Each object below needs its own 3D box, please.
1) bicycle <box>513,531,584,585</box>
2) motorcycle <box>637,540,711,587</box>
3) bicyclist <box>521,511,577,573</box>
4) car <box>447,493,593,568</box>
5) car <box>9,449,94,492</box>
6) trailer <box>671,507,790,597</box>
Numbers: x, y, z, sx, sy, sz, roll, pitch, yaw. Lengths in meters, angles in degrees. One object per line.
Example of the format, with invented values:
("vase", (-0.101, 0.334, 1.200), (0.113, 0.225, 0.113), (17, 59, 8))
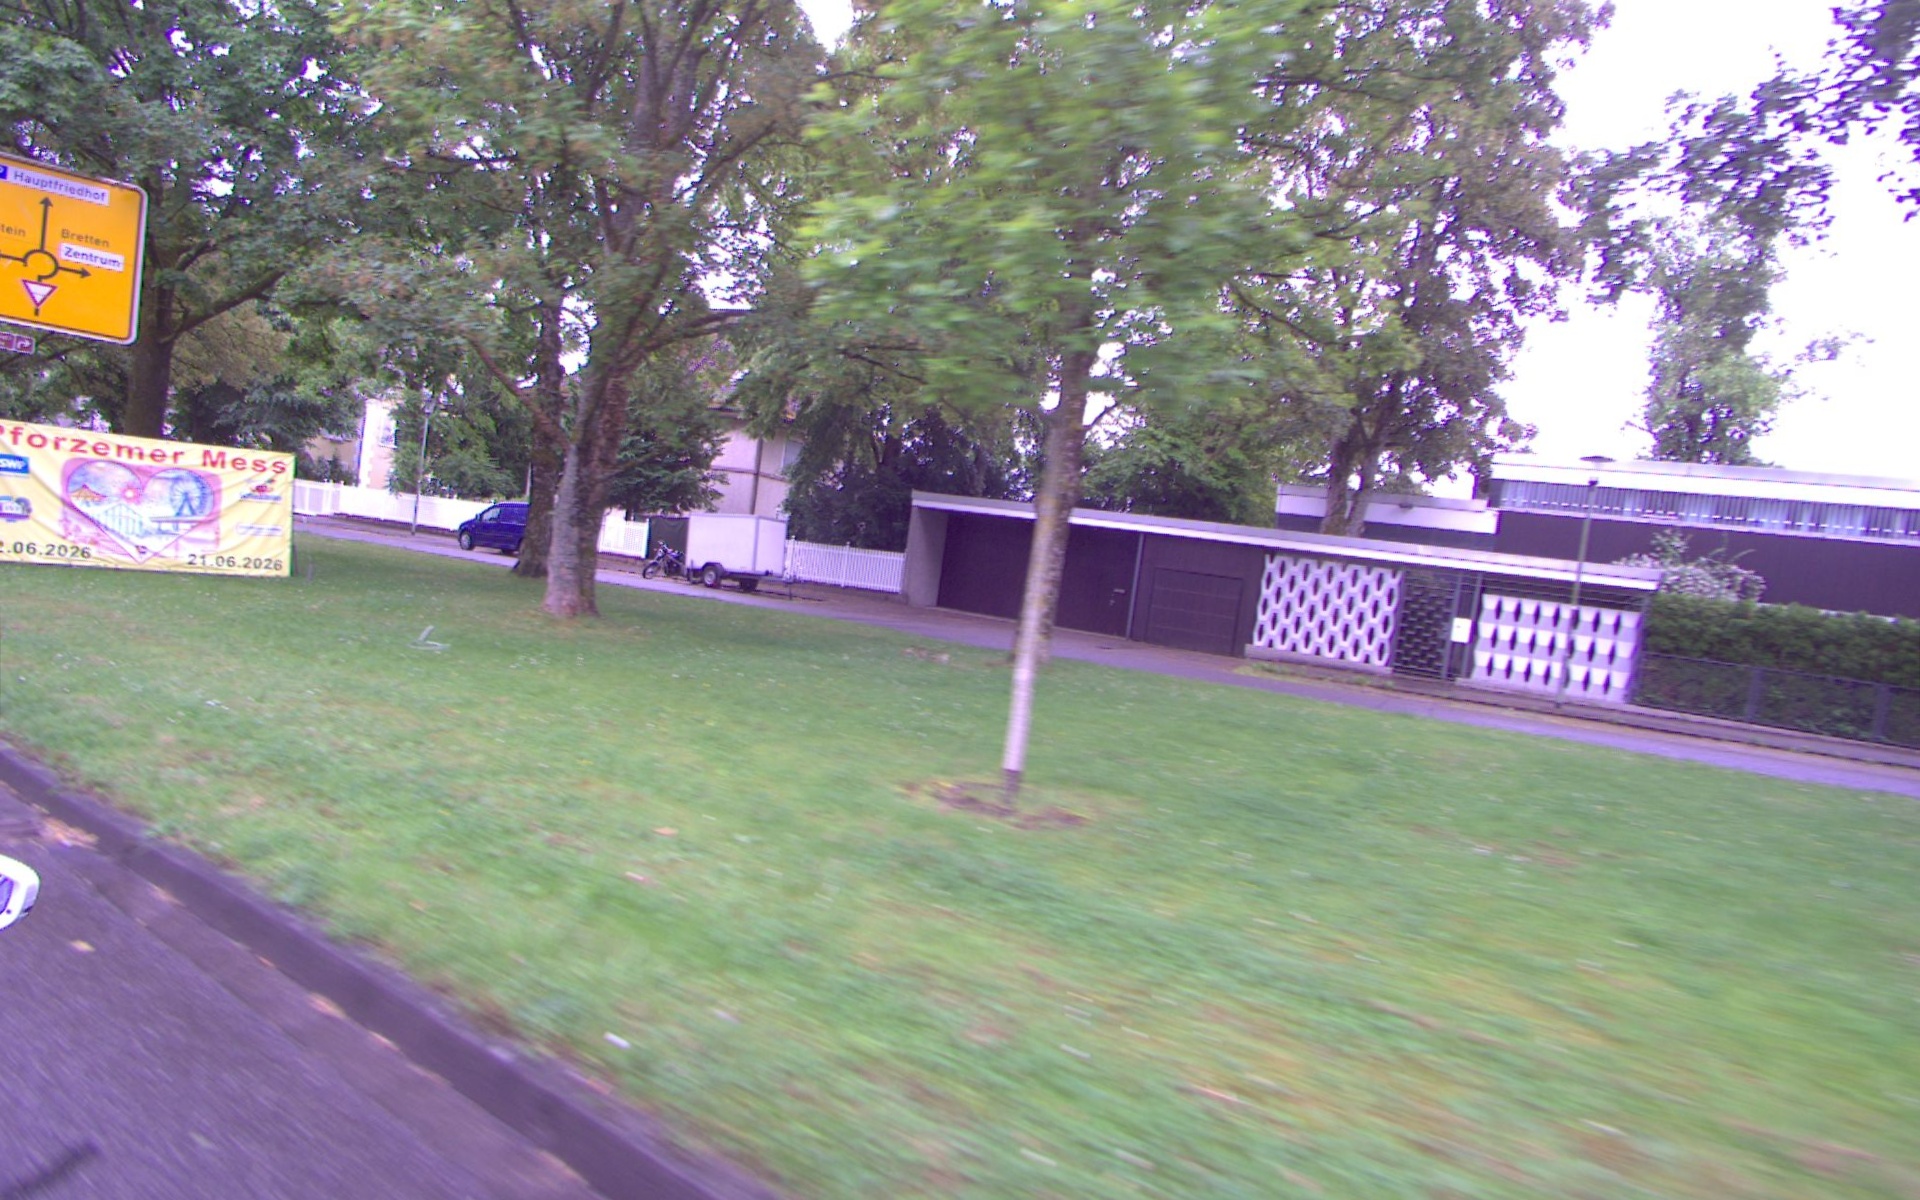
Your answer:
("bicycle", (-10.272, -1.054, 25.101), (1.832, 1.153, 0.596), (7, 2, 32))
("motorcycle", (-8.379, -1.070, 29.483), (1.876, 1.107, 0.651), (6, 3, -39))
("bicyclist", (-10.274, -1.455, 25.126), (0.983, 1.408, 0.745), (7, 2, 32))
("car", (-14.476, -2.295, 33.047), (4.568, 1.834, 1.942), (9, 4, 29))
("car", (-44.041, -6.273, 48.753), (4.041, 1.550, 1.803), (9, 3, 29))
("trailer", (-6.536, -1.366, 28.627), (2.898, 2.183, 1.437), (8, 3, 27))
